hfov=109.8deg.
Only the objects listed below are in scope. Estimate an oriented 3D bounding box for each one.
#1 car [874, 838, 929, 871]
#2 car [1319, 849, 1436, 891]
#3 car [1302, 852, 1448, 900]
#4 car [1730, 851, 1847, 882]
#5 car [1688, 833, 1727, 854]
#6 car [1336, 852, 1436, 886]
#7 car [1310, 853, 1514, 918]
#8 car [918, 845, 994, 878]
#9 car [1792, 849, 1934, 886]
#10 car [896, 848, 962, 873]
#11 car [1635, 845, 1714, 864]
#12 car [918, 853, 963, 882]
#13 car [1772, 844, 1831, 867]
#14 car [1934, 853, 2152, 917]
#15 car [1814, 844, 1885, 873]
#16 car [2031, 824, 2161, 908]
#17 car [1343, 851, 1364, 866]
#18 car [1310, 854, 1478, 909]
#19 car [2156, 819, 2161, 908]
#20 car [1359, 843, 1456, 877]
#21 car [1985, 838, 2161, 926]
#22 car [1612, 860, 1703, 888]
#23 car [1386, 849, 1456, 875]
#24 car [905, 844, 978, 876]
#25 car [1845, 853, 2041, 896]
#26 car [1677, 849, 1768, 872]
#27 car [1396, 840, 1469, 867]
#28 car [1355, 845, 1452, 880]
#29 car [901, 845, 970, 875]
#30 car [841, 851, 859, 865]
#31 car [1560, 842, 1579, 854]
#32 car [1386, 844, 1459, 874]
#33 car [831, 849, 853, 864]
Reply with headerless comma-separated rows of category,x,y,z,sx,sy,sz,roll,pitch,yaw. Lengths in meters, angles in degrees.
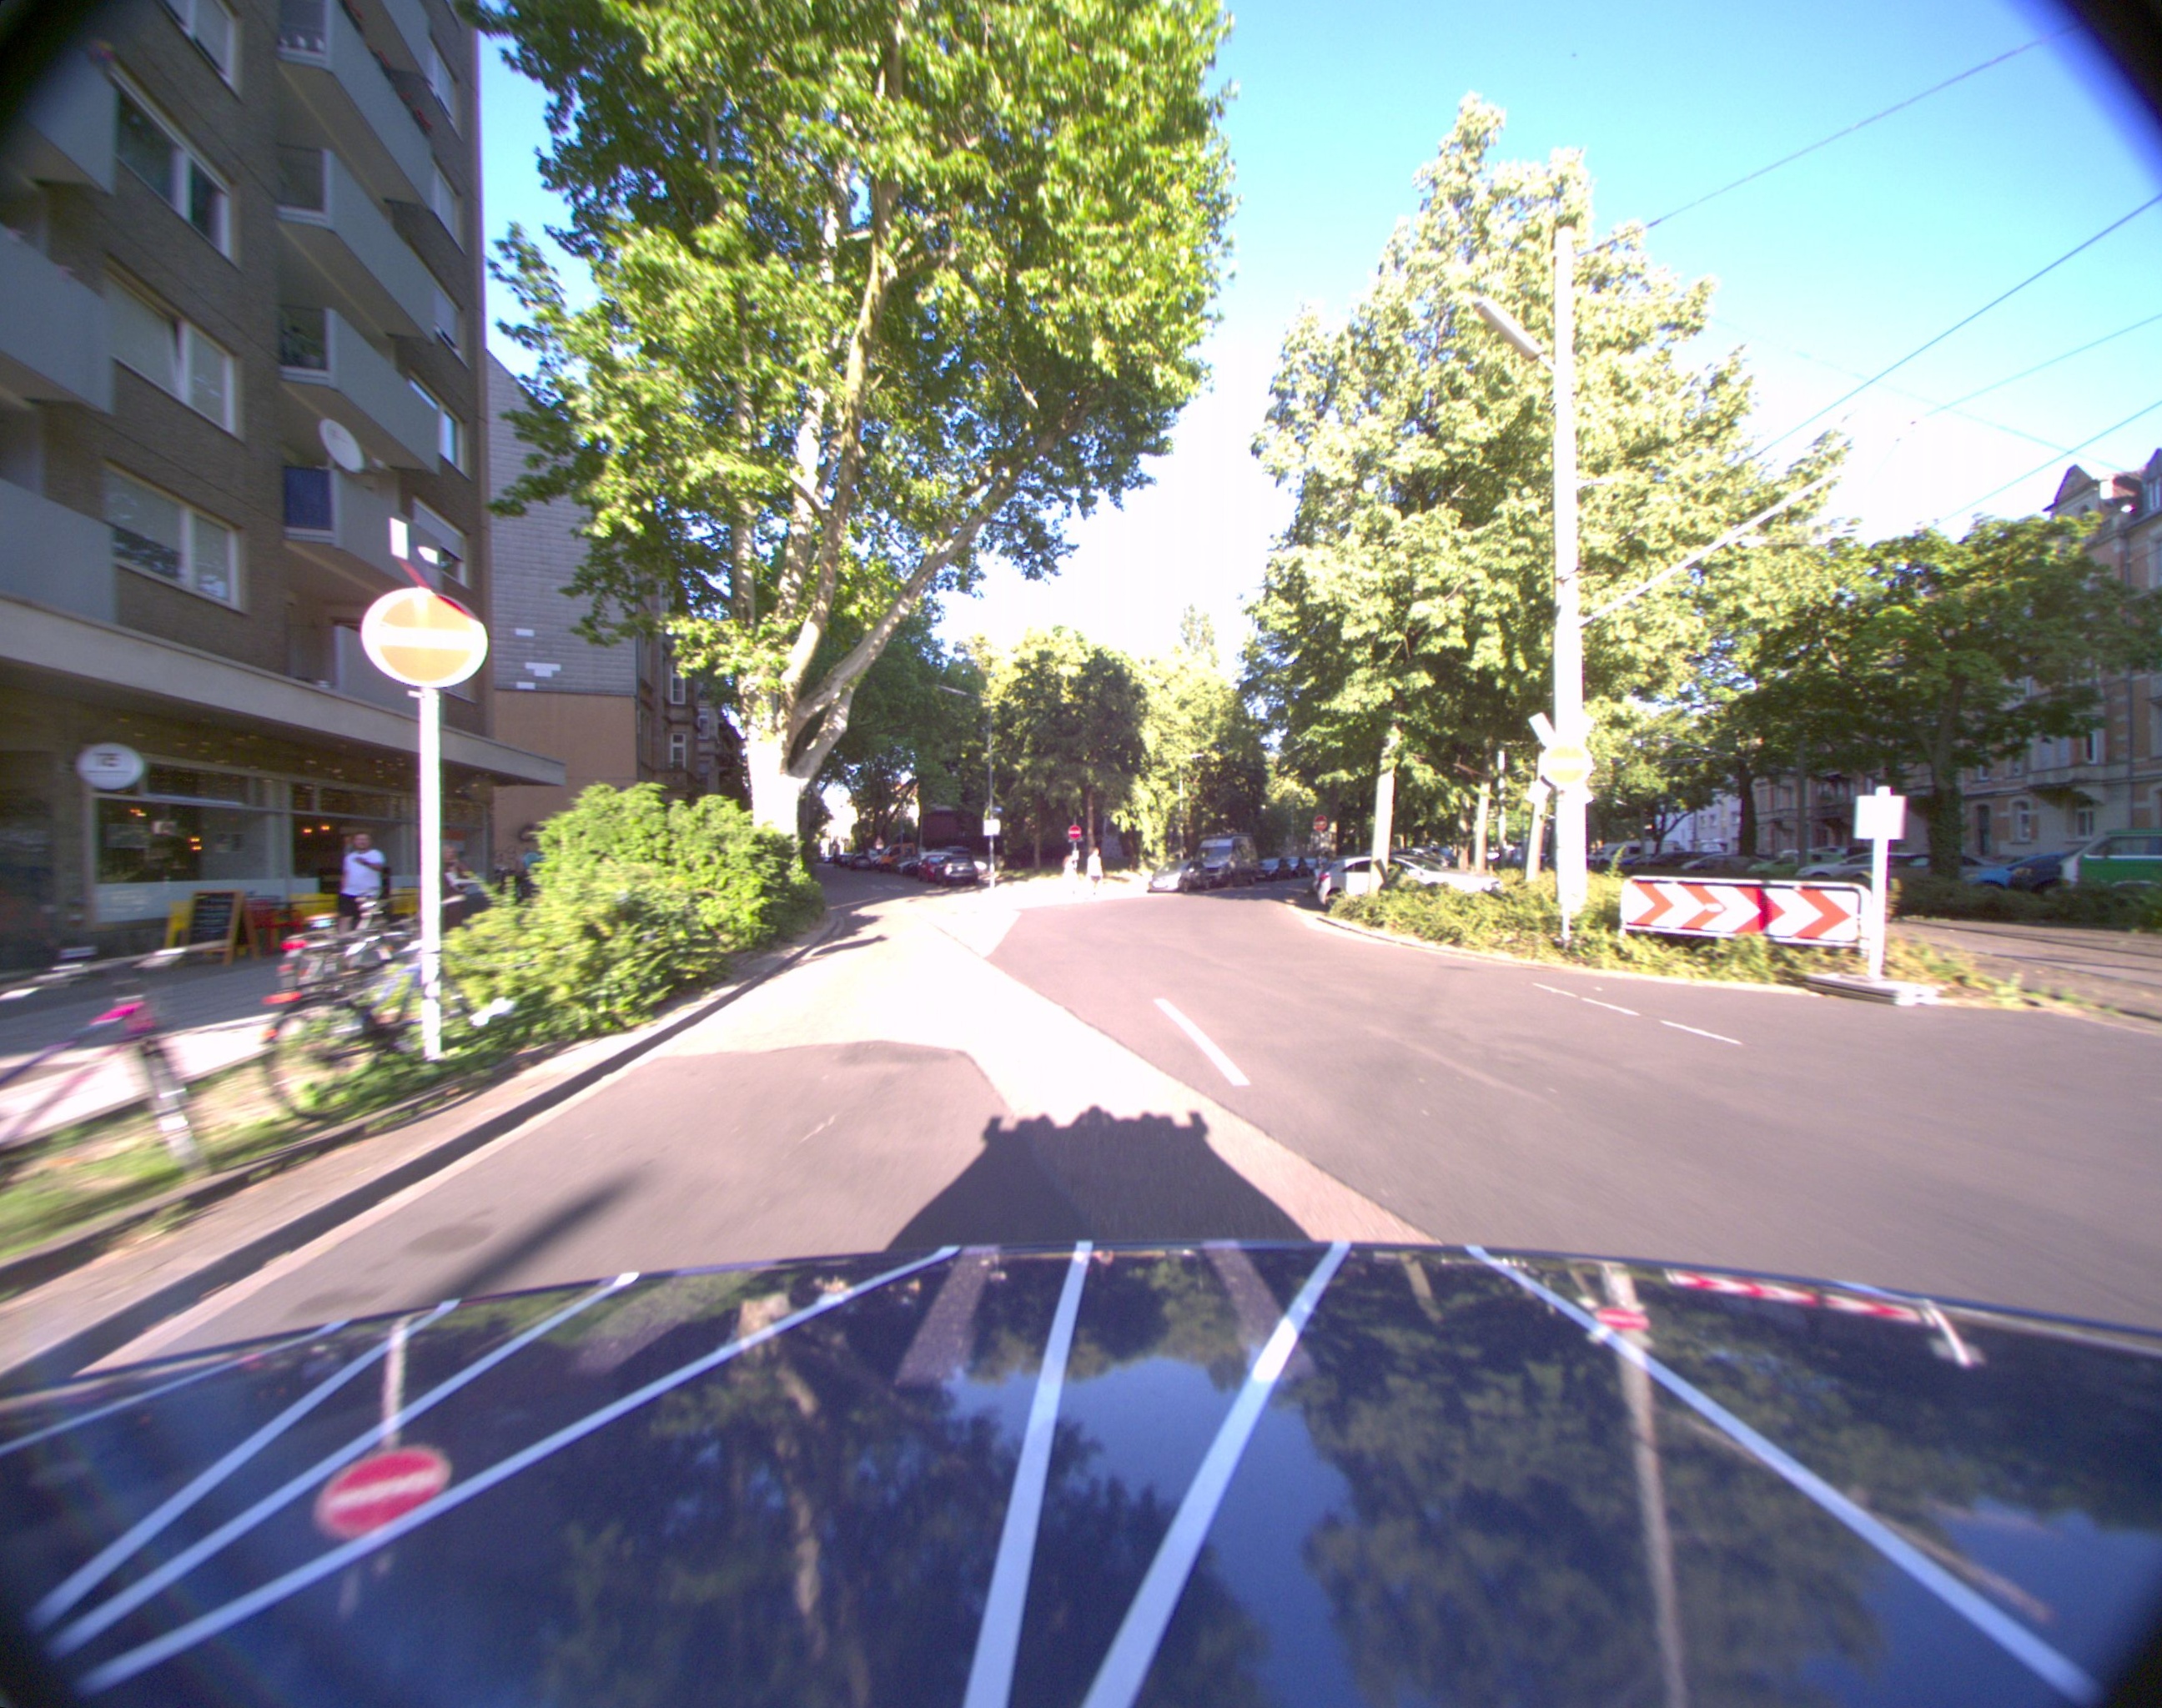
car,-16.238,0.045,68.937,4.646,2.950,1.604,0,1,-23
car,11.629,0.666,29.994,1.835,1.485,3.875,-2,-1,-36
car,9.484,0.735,24.700,3.975,1.357,1.778,-4,-1,43
car,32.685,0.538,35.184,1.711,1.373,3.728,0,0,-37
car,60.600,-0.995,73.574,1.995,2.002,4.007,0,0,25
car,14.064,0.716,35.183,1.835,1.430,3.863,-2,-1,-37
car,8.137,0.752,18.948,4.282,1.421,1.778,-2,0,44
car,-7.840,0.452,47.457,4.404,1.698,1.731,-4,1,-17
car,30.611,0.502,29.828,1.730,1.373,3.728,0,0,-38
car,-10.941,0.441,54.634,4.404,1.484,1.783,-4,1,-17
car,42.493,0.037,54.464,1.639,1.302,4.178,0,0,-34
car,-7.938,0.728,42.676,1.745,1.441,4.637,-2,1,-20
car,51.927,0.103,54.848,1.852,1.522,4.031,2,1,25
car,26.772,0.784,21.270,1.664,1.630,3.641,0,0,-33
car,49.448,0.277,49.007,1.852,1.772,4.031,2,1,25
car,23.807,0.247,15.870,2.089,1.754,4.823,0,0,-35
car,27.588,0.447,76.944,1.592,1.445,3.561,0,0,27
car,8.883,0.763,21.754,4.029,1.397,1.778,-2,0,42
car,22.699,0.183,12.829,2.089,1.754,5.045,0,0,-41
car,19.600,0.382,45.862,1.991,1.770,4.991,-2,-1,-35
car,25.132,0.642,18.330,2.003,2.002,3.990,0,0,-31
car,34.844,1.145,46.025,2.004,1.569,3.989,0,0,-38
car,24.092,0.582,54.047,1.918,1.634,4.152,-2,-1,-30
car,-9.128,0.393,49.759,4.404,1.766,1.783,-4,1,-17
car,29.677,0.654,26.317,1.597,1.373,4.278,0,0,-32
car,38.520,0.350,45.687,1.597,1.310,3.988,0,0,-43
car,31.070,-0.005,67.397,2.084,2.124,5.502,-2,-1,-33
car,17.143,0.473,40.616,1.945,1.616,4.348,-2,-1,-35
car,-10.048,0.375,52.510,4.404,1.766,1.783,-4,1,-17
car,-24.208,0.411,79.722,1.602,1.459,2.994,1,1,-20
car,85.445,-1.020,132.955,1.995,2.002,4.006,0,0,22
car,22.788,0.343,50.855,1.886,1.770,4.153,-2,-1,-26
car,-26.303,0.270,83.577,1.737,1.623,4.491,1,-1,-24
